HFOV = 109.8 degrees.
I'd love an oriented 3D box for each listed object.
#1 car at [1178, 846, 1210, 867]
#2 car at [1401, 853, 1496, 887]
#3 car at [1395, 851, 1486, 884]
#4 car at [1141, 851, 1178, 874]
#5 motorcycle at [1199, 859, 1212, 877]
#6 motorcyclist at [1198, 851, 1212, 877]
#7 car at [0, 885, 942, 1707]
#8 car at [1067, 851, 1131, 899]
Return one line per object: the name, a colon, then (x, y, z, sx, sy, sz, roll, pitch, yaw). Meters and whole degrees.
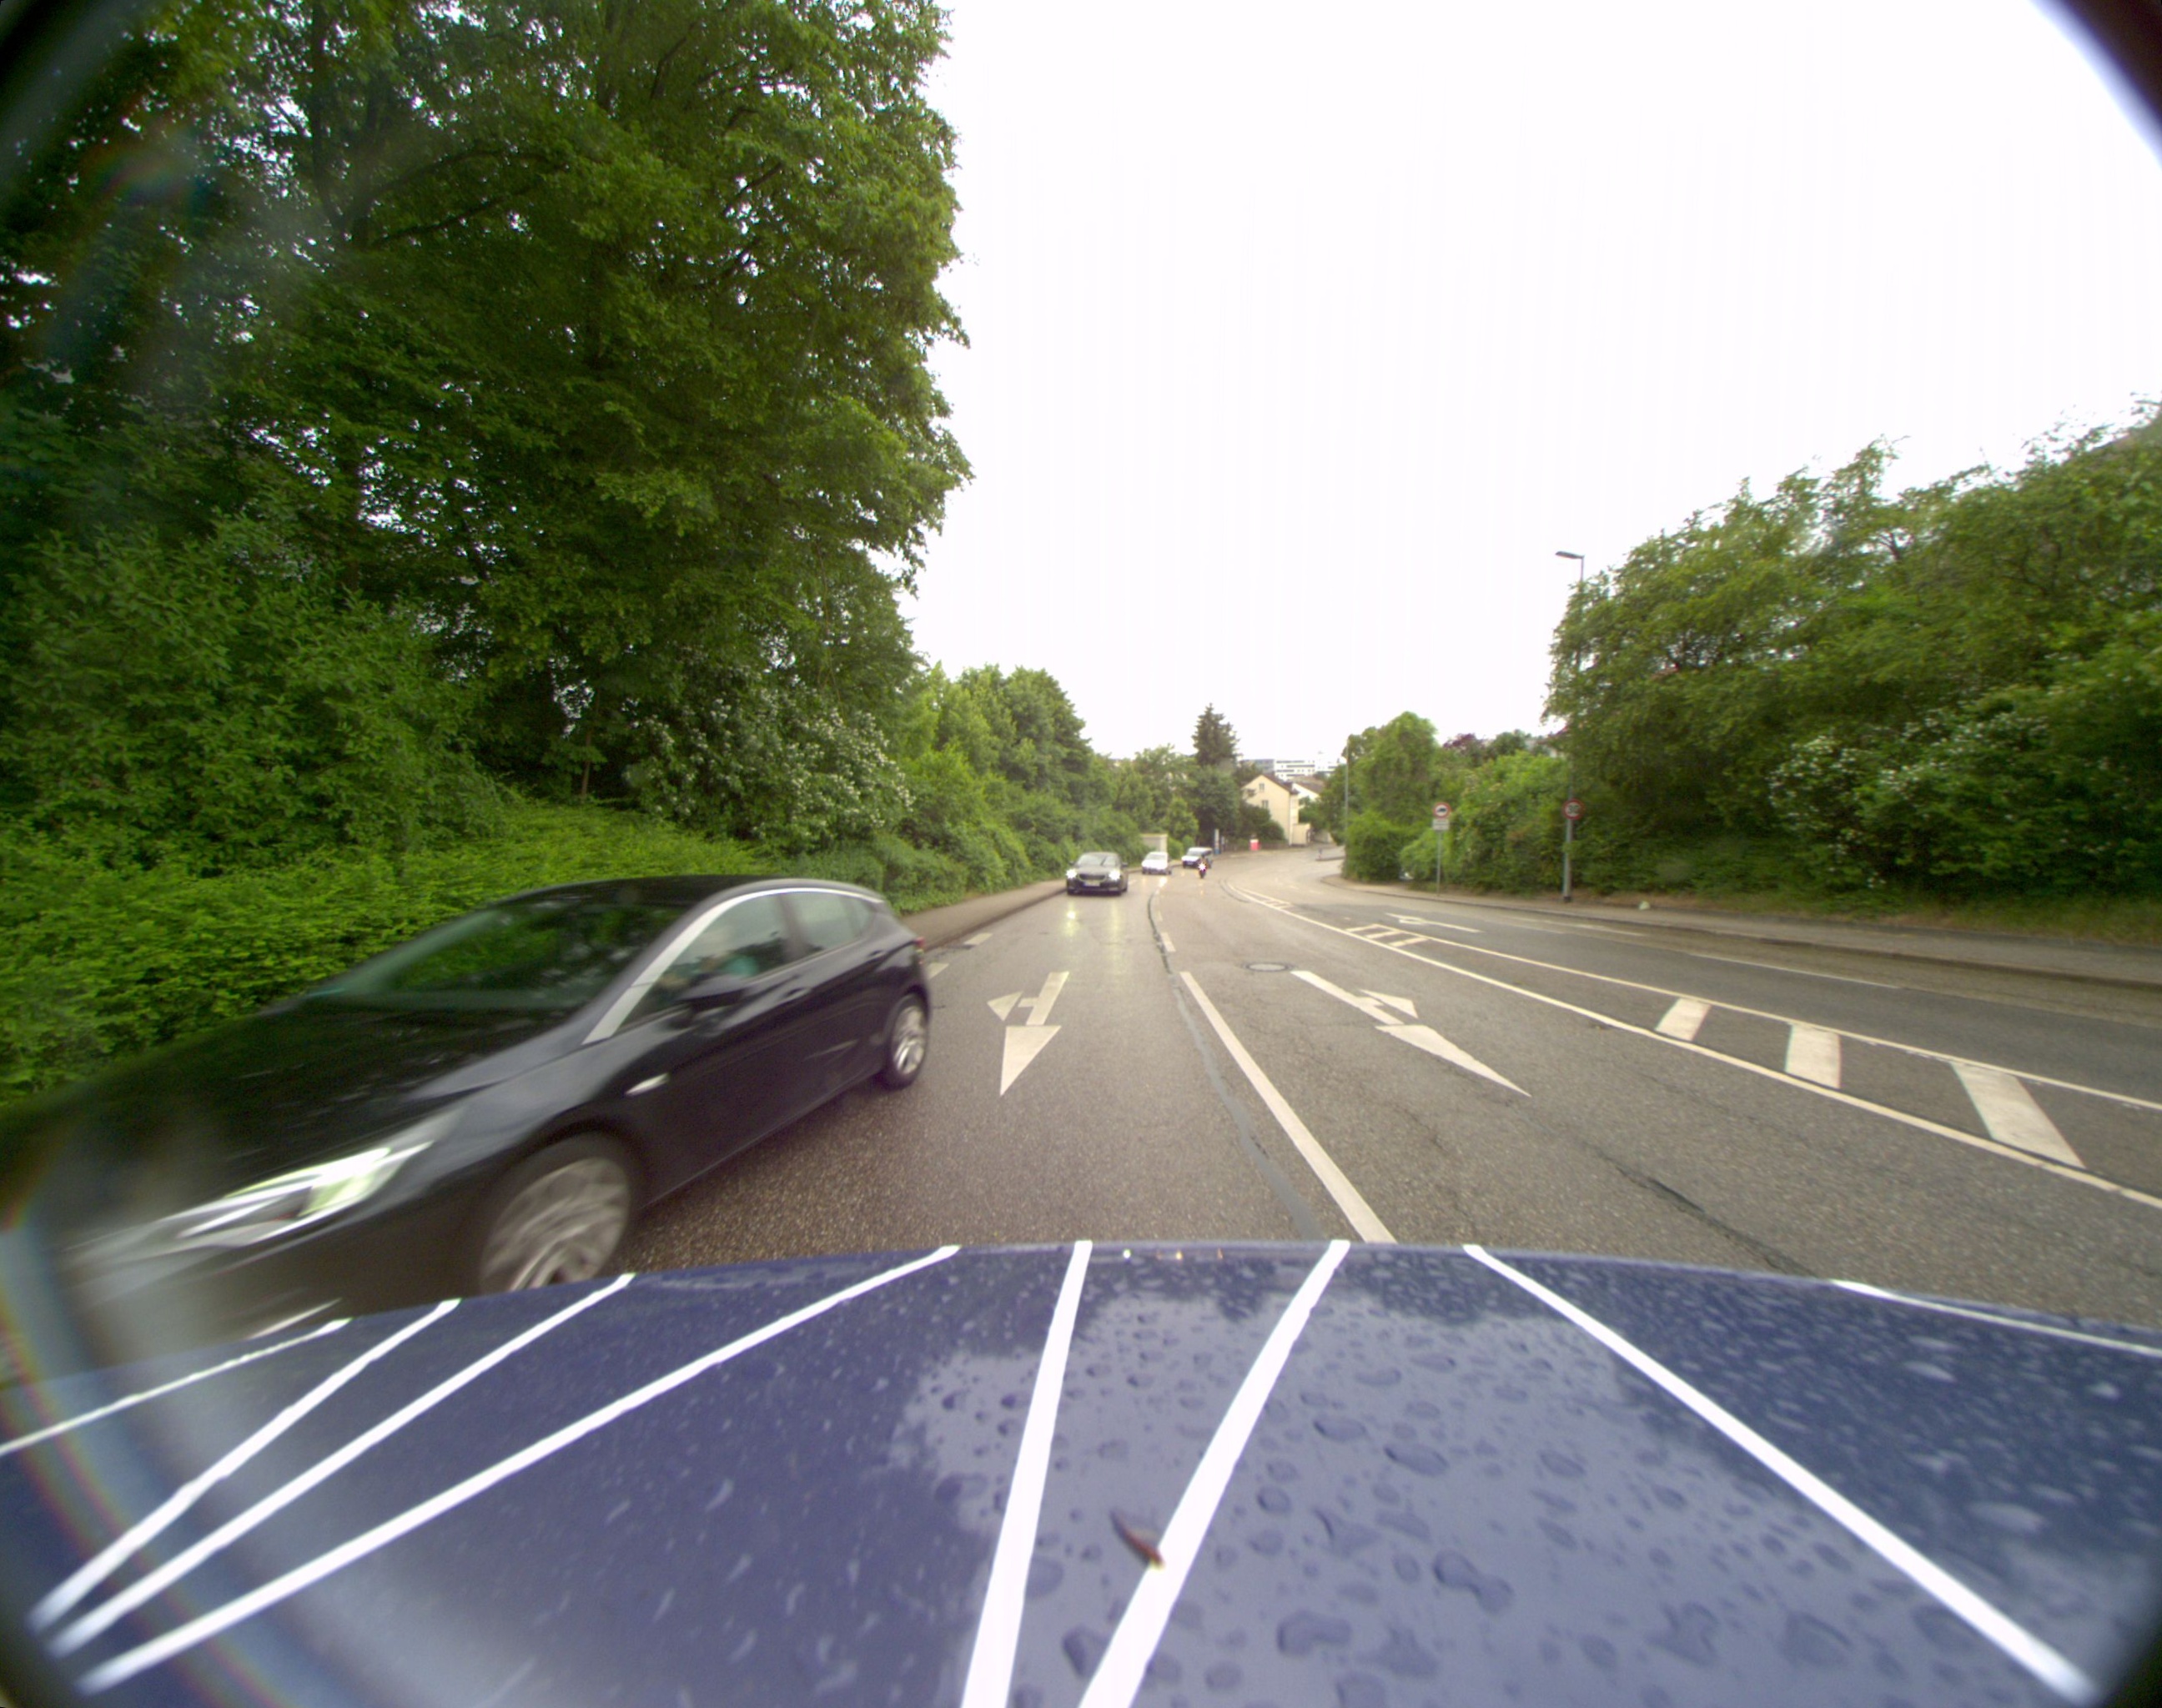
car: (10.418, 0.215, 69.707, 1.774, 1.765, 4.007, 4, 2, 24)
car: (18.540, 0.791, 38.519, 3.908, 1.432, 1.812, -3, 0, 9)
car: (19.435, 0.728, 41.230, 3.995, 1.527, 2.001, -3, 0, 8)
car: (5.488, 0.535, 52.961, 1.815, 1.431, 4.004, 4, 2, 15)
motorcycle: (8.051, 0.921, 49.224, 0.692, 1.047, 1.748, 3, 2, 12)
motorcyclist: (8.046, 0.614, 49.281, 0.766, 1.633, 0.675, 3, 2, 12)
car: (-2.316, 1.015, 3.688, 1.815, 1.434, 4.165, 2, 1, 11)
car: (0.716, 0.667, 26.865, 1.871, 1.497, 4.199, 1, 1, 6)
